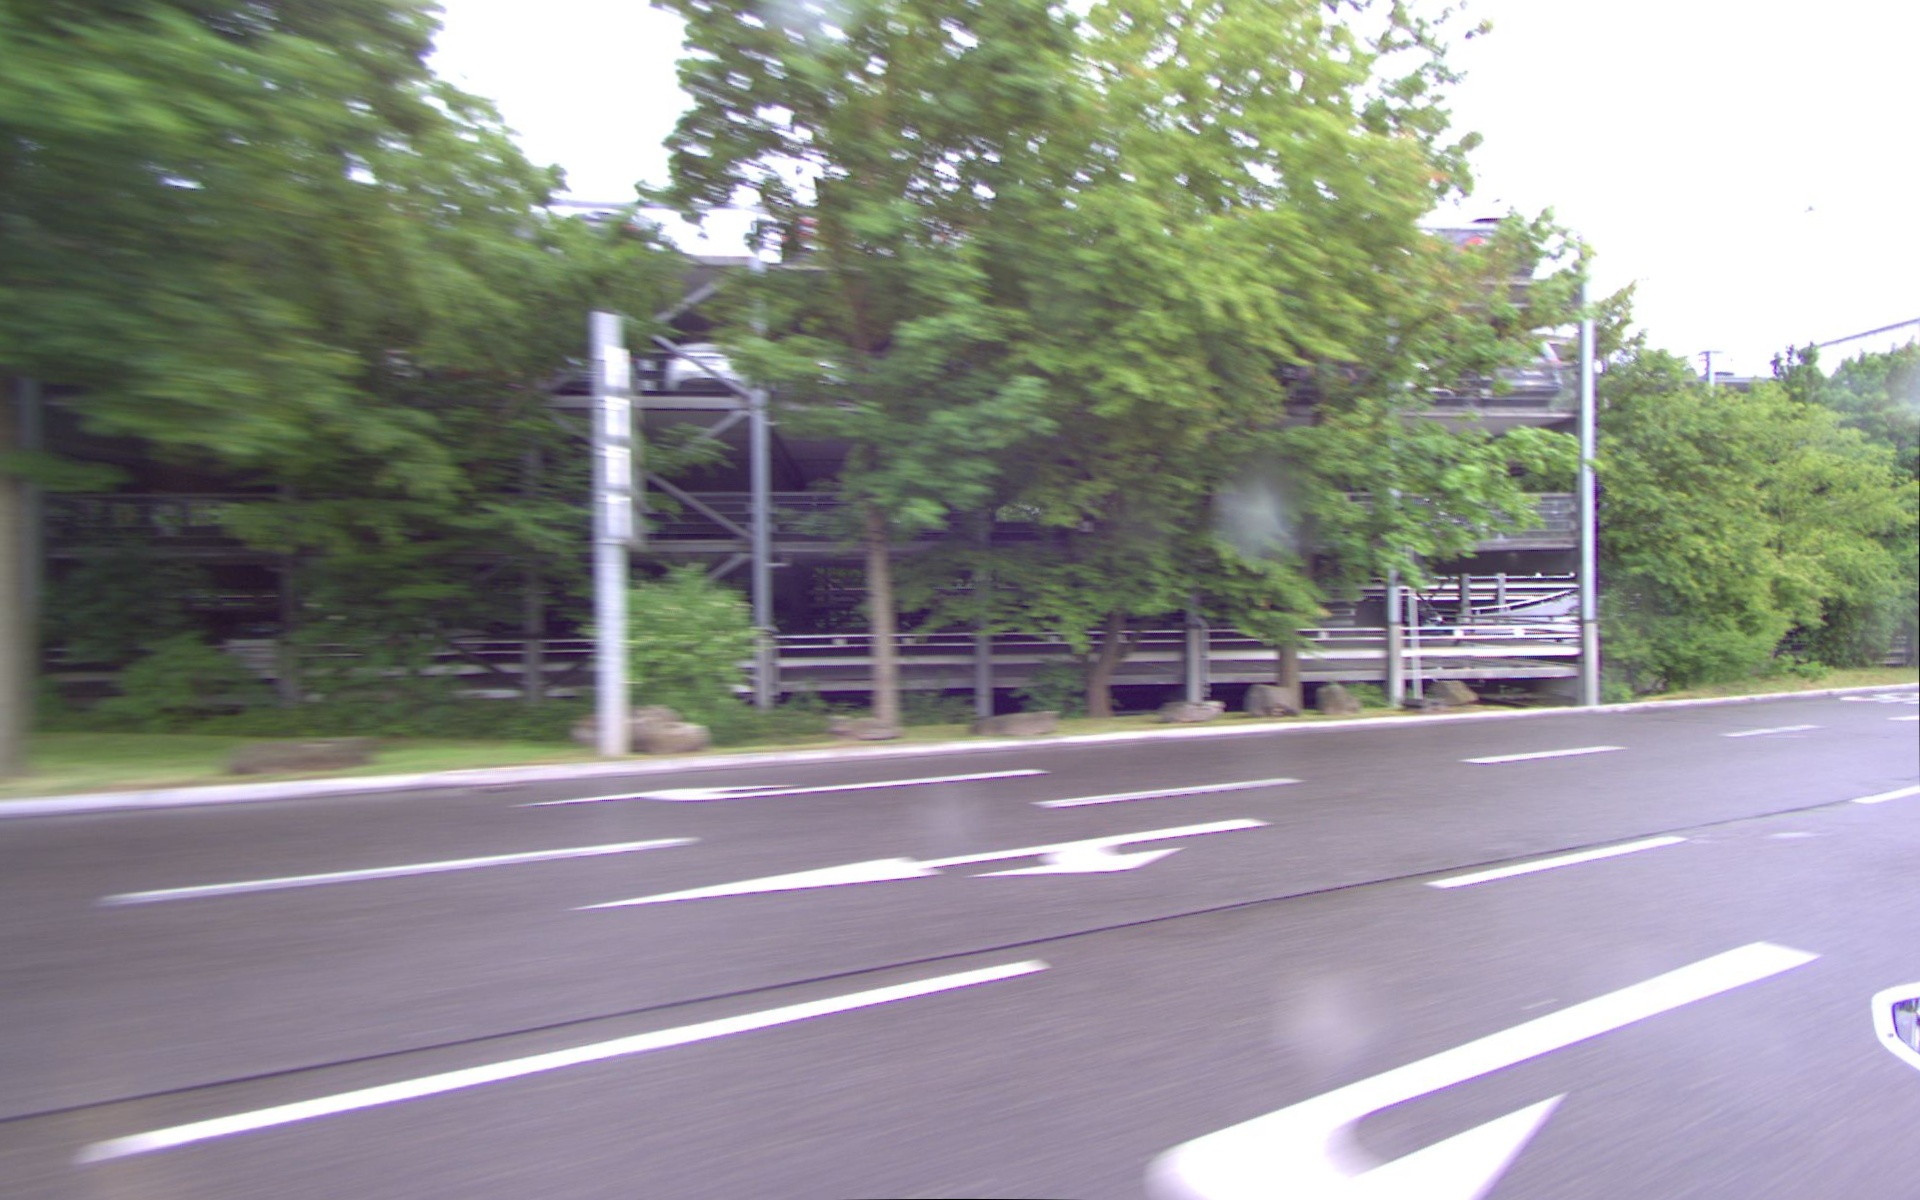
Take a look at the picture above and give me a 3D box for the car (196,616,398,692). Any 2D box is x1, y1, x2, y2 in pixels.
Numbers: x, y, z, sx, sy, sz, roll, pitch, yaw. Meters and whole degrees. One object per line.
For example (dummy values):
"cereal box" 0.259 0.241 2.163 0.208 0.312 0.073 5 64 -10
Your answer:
"car" -14.584 1.167 22.406 1.961 1.539 3.999 0 -2 -3

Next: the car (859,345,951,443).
"car" -1.211 -4.691 23.375 1.961 1.539 3.998 0 2 -1

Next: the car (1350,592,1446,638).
"car" 15.607 0.547 35.972 1.557 1.539 3.470 1 -1 -8

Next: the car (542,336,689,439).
"car" -7.486 -4.605 22.277 1.961 1.539 3.998 0 2 -1

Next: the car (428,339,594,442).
"car" -9.839 -4.561 22.376 1.961 1.539 3.998 0 2 -1

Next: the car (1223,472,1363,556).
"car" 7.852 -1.979 24.111 1.961 1.539 4.000 0 -2 -1

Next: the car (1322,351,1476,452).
"car" 10.583 -4.747 24.577 1.961 1.539 4.000 0 -2 -1

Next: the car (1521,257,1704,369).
"car" 16.360 -7.165 25.460 1.961 1.539 4.000 0 -2 -1

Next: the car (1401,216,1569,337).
"car" 12.708 -7.814 24.640 1.961 1.539 4.000 0 -2 -1

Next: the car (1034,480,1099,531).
"car" 4.207 -3.734 40.235 1.962 1.539 3.998 0 -2 -4

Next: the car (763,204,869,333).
"car" -3.242 -7.564 23.309 1.961 1.539 4.000 0 -2 -1

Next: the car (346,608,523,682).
"car" -11.750 0.997 22.813 1.961 1.539 4.000 0 -2 -1

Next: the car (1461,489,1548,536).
"car" 22.622 -3.599 41.833 1.557 1.539 3.240 1 -2 -8

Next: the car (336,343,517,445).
"car" -11.773 -4.513 22.508 1.961 1.539 3.998 0 2 -1

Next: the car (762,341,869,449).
"car" -3.237 -4.638 23.220 1.961 1.539 4.000 0 -2 -1

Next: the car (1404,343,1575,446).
"car" 12.718 -4.903 24.443 1.961 1.539 4.000 0 -2 -1

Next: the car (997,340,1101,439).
"car" 1.945 -4.744 23.112 1.961 1.539 3.998 0 2 -1

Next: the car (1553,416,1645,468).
"car" 26.893 -6.633 42.371 1.557 1.539 3.240 1 -2 -8

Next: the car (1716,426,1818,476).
"car" 34.739 -6.397 43.347 1.557 1.539 3.240 1 -2 -8

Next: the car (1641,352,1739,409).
"car" 31.040 -9.306 42.817 1.557 1.539 3.240 1 -2 -8

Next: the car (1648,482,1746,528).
"car" 31.217 -3.994 42.646 1.557 1.539 3.240 1 -2 -8

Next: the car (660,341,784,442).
"car" -5.279 -4.638 22.812 1.961 1.539 3.998 0 2 -1

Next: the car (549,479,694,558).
"car" -7.407 -1.744 22.410 1.961 1.539 3.998 0 2 -1

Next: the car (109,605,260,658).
"car" -24.105 0.981 31.423 1.963 1.539 3.995 1 -2 -8

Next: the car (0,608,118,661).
"car" -28.775 1.070 31.337 1.963 1.539 3.995 1 -2 -8

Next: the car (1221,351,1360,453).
"car" 7.880 -4.695 24.363 1.961 1.539 4.000 0 -2 -1
